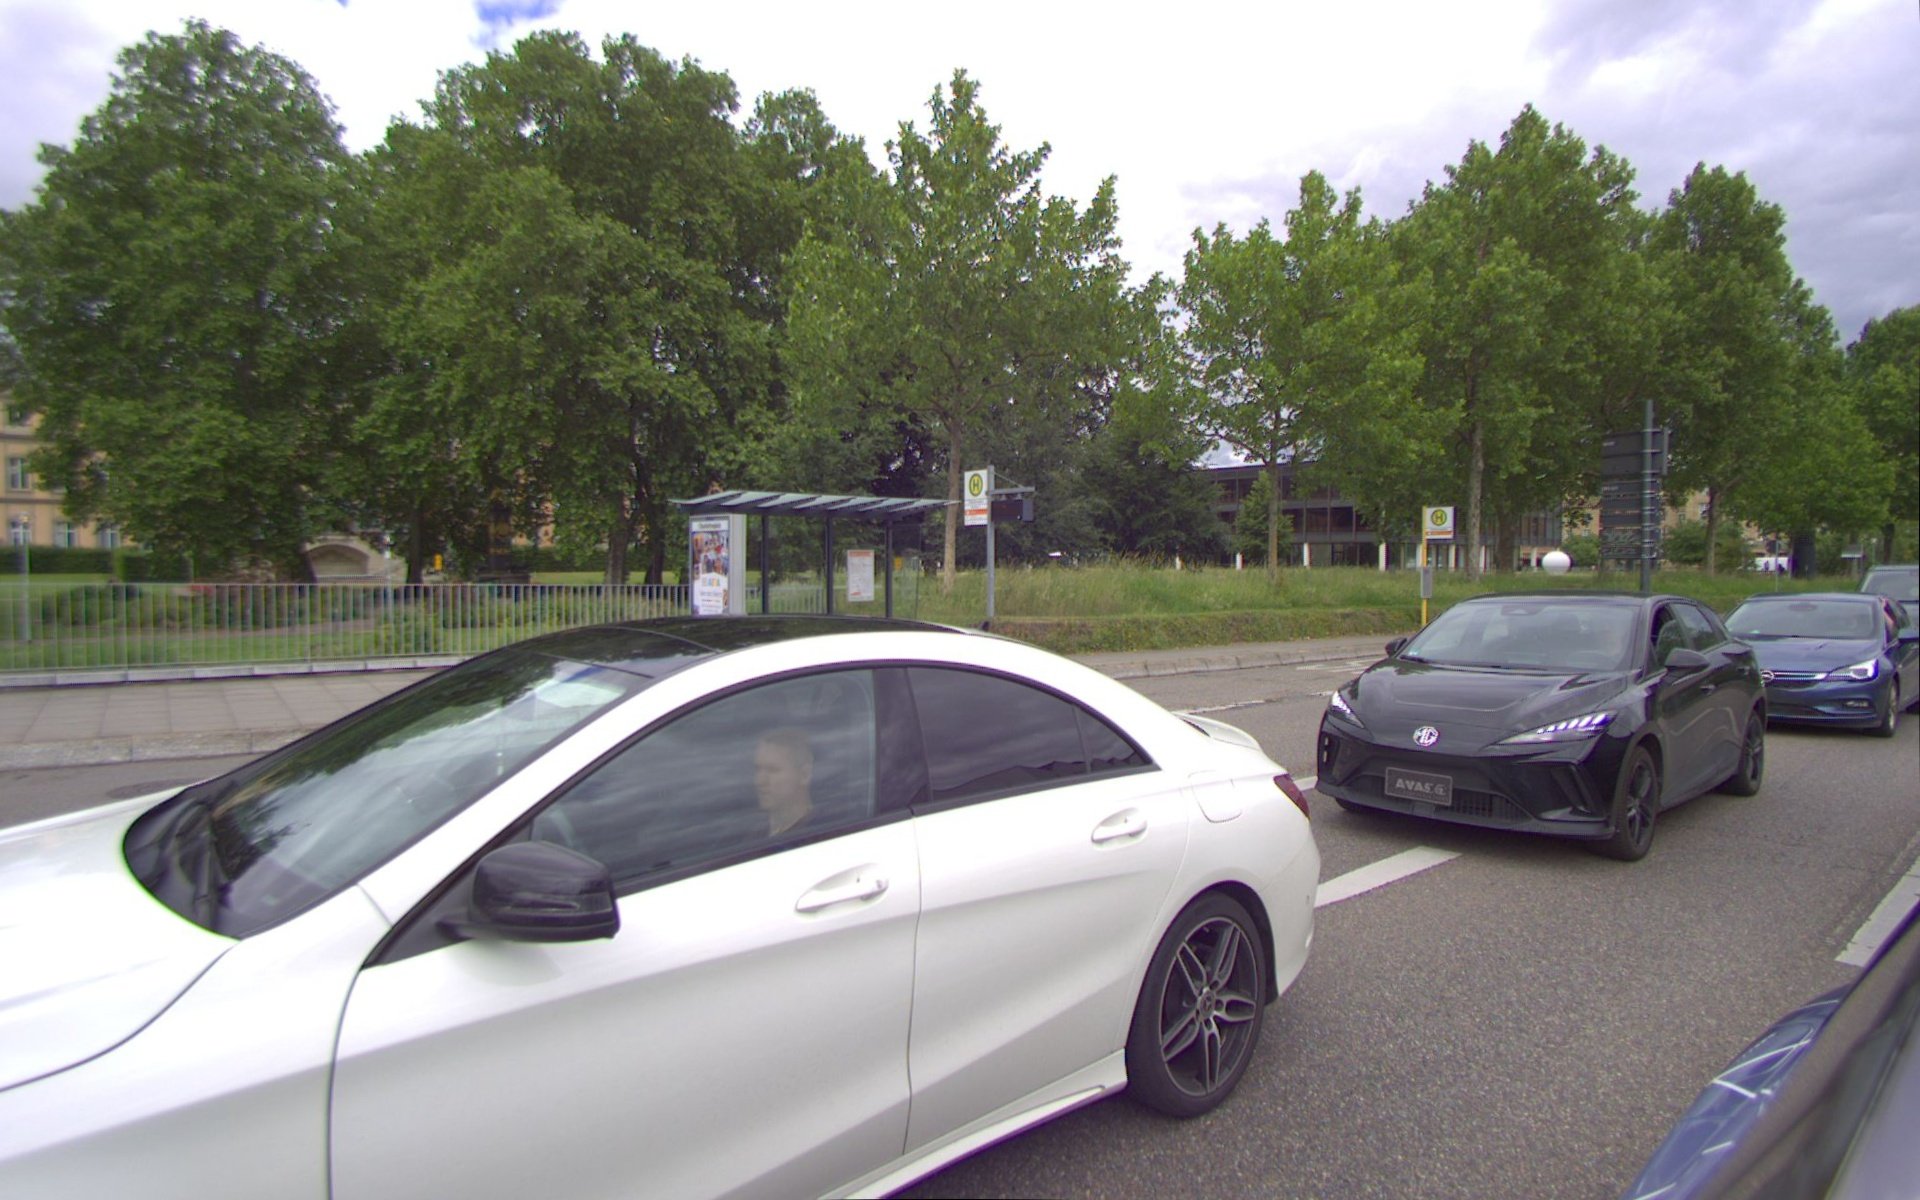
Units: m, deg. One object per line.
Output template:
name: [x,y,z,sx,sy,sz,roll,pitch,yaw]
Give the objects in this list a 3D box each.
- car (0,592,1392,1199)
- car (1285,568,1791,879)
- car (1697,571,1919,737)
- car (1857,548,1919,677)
car: [-0.720,0.718,2.747,4.427,1.441,1.722,-1,1,-41]
car: [4.188,0.603,7.057,4.047,1.543,1.828,0,0,-41]
car: [9.806,0.472,11.363,3.930,1.556,1.572,-1,1,-40]
car: [15.821,0.161,16.134,4.353,1.885,1.722,-1,1,-41]
